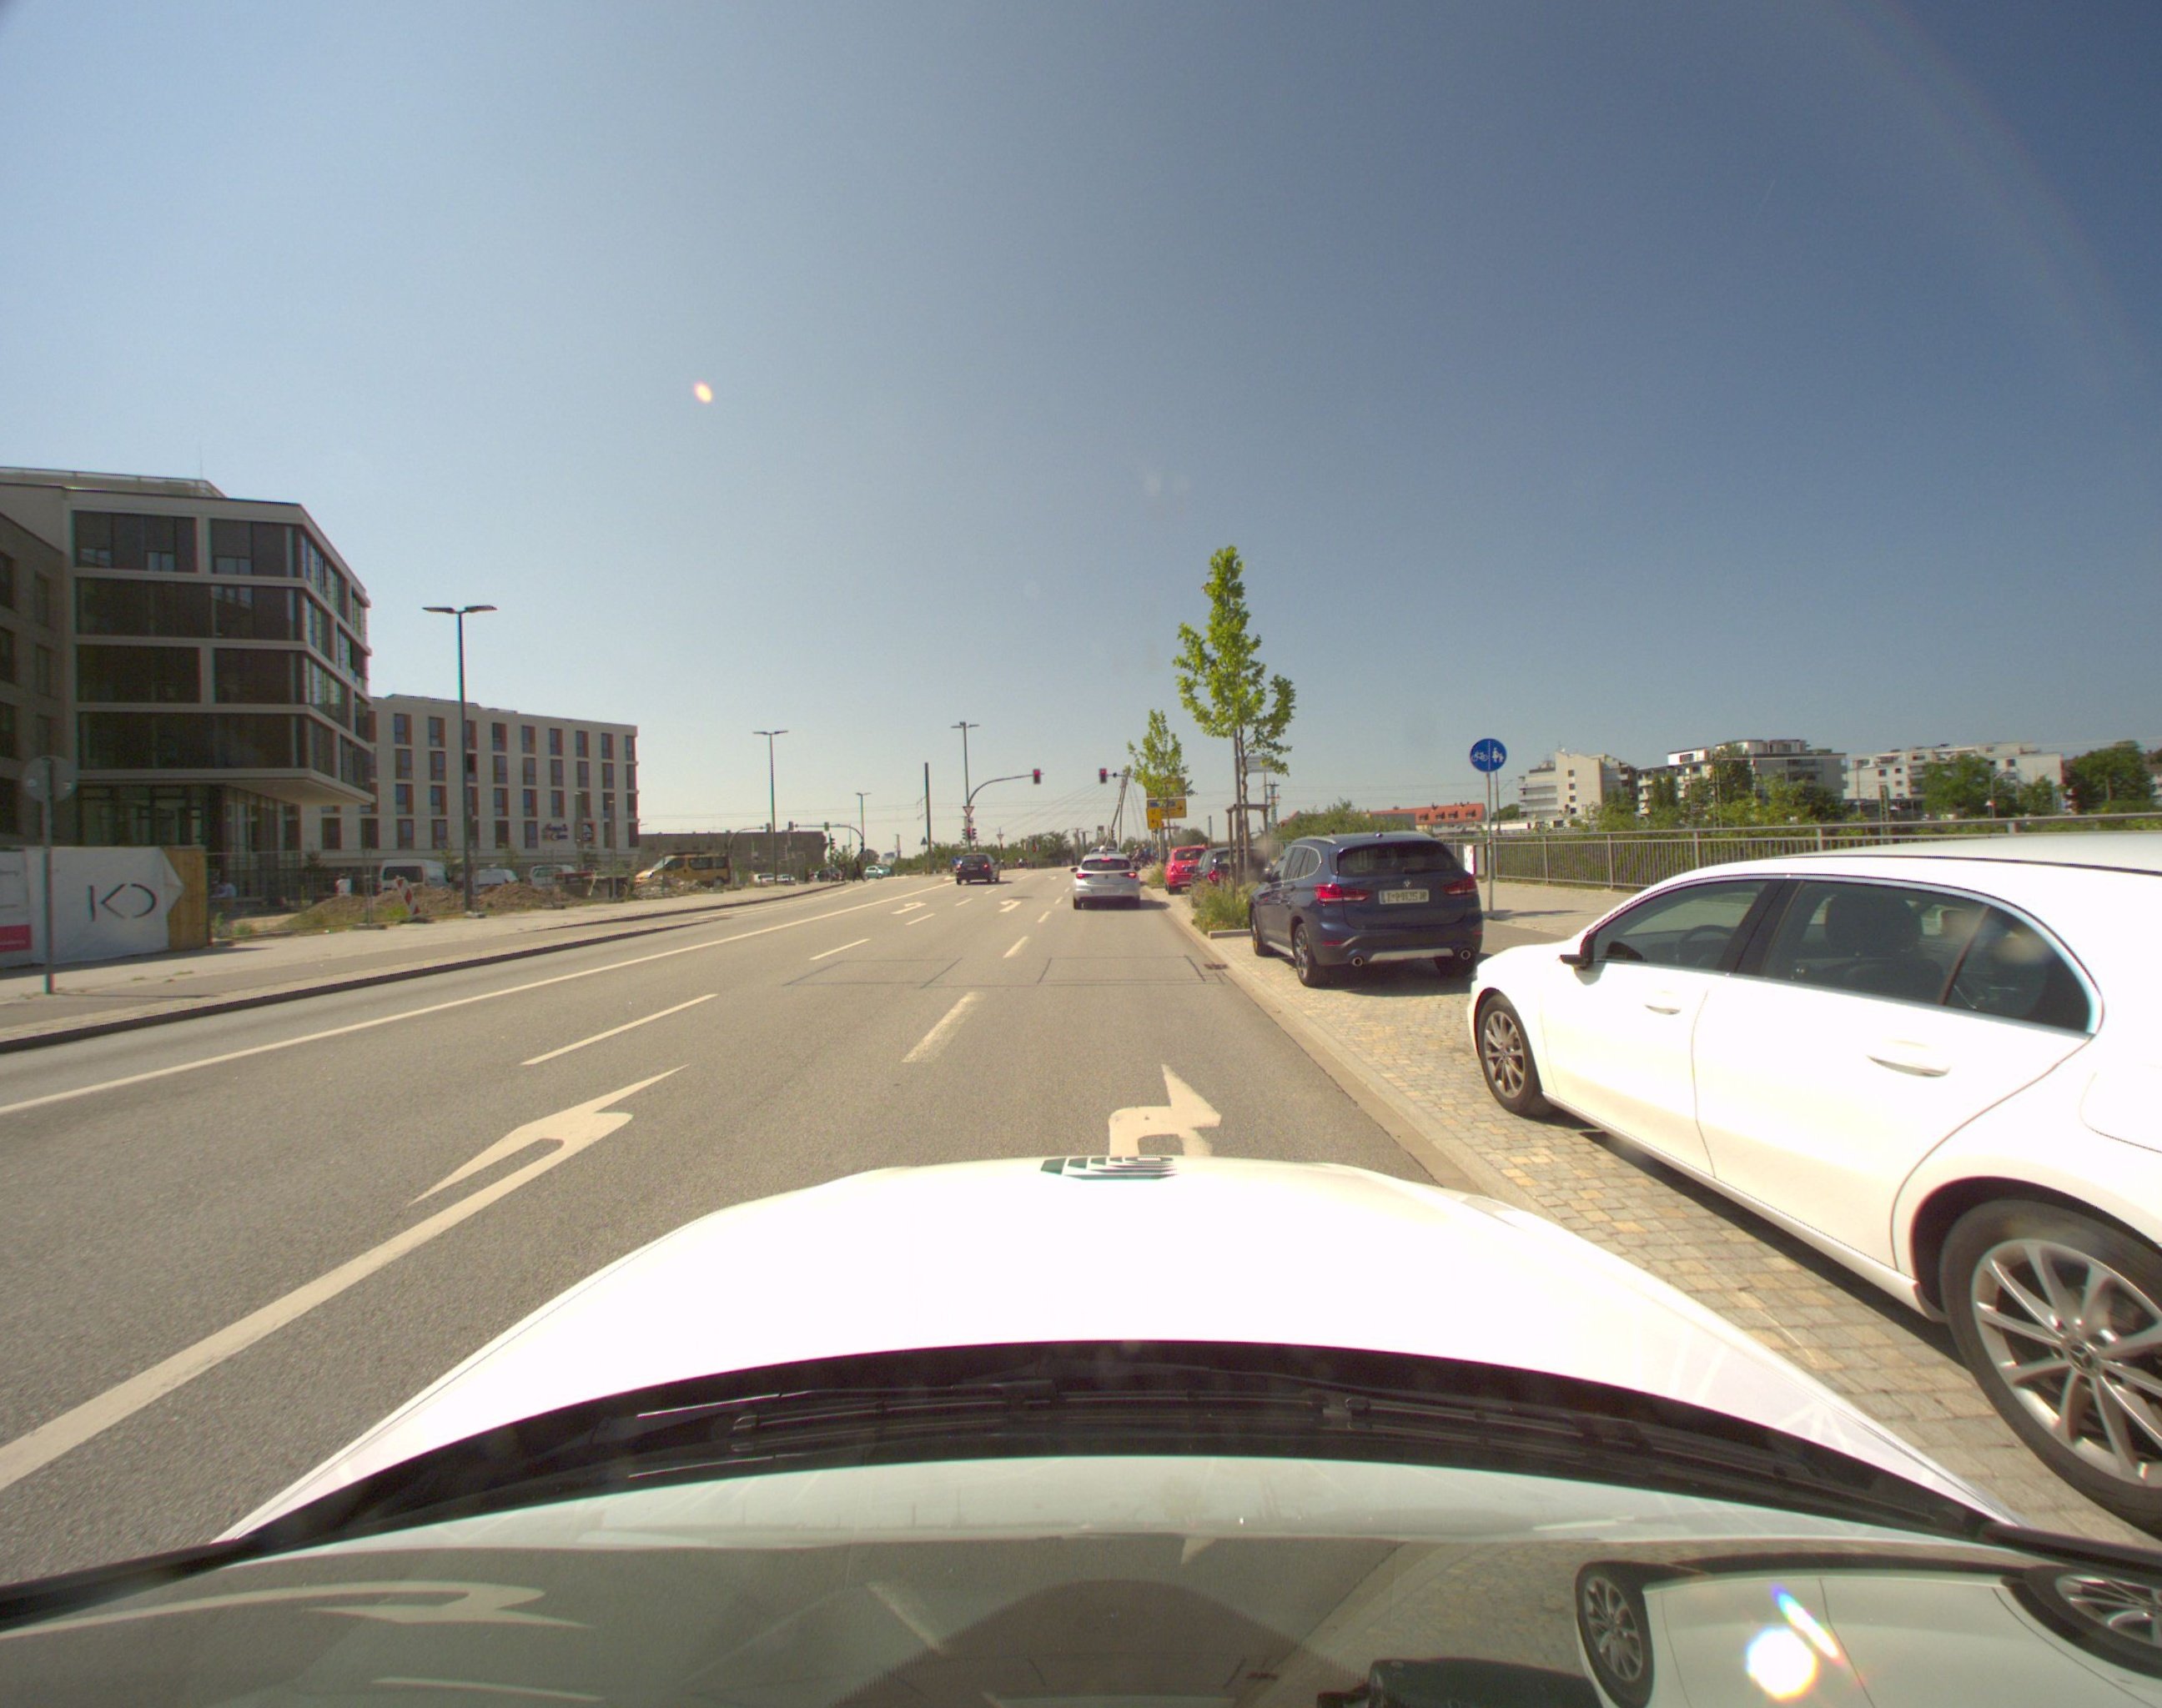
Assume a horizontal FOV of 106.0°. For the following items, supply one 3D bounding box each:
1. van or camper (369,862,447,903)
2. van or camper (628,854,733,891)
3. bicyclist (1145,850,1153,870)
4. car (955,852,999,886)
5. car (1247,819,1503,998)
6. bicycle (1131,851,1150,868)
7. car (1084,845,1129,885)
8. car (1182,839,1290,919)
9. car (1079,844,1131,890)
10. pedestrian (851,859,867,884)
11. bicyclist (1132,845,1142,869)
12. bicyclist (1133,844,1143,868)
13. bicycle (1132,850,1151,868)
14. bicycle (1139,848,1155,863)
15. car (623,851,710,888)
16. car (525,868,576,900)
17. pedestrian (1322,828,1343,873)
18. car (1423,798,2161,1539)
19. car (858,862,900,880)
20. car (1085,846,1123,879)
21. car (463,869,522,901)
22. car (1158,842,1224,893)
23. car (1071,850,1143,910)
[{"bbox_3d":[-35.585,1.502,43.202,2.252,2.014,4.558,2,-2,-28],"label":"van or camper"},{"bbox_3d":[-21.762,0.995,44.411,1.975,1.897,4.745,-3,-3,44],"label":"van or camper"},{"bbox_3d":[5.571,0.486,66.921,0.591,1.644,0.312,-1,-2,-4],"label":"bicyclist"},{"bbox_3d":[-4.903,0.670,38.809,1.614,1.416,3.726,-3,1,-1],"label":"car"},{"bbox_3d":[3.221,0.528,9.724,1.815,1.616,3.614,-4,0,3],"label":"car"},{"bbox_3d":[4.147,0.399,56.946,1.237,1.197,0.481,-1,-2,-5],"label":"bicycle"},{"bbox_3d":[1.106,0.439,35.433,1.771,1.568,4.002,-2,0,2],"label":"car"},{"bbox_3d":[3.540,0.544,19.341,1.771,1.503,4.002,-6,-1,2],"label":"car"},{"bbox_3d":[0.929,0.446,30.981,1.771,1.568,4.002,-2,0,2],"label":"car"},{"bbox_3d":[-15.212,1.200,55.833,0.842,1.646,0.827,-2,-1,-4],"label":"pedestrian"},{"bbox_3d":[3.912,0.188,56.971,0.591,1.644,0.312,-1,-2,-4],"label":"bicyclist"},{"bbox_3d":[3.905,0.154,55.935,0.591,1.644,0.312,-1,-2,-4],"label":"bicyclist"},{"bbox_3d":[4.130,0.318,56.022,1.237,1.197,0.481,-1,-2,-5],"label":"bicycle"},{"bbox_3d":[5.457,0.142,66.939,1.237,1.197,0.481,-1,-2,-5],"label":"bicycle"},{"bbox_3d":[-24.076,0.901,47.399,1.974,2.014,4.025,-2,-1,40],"label":"car"},{"bbox_3d":[-30.349,1.666,46.679,2.038,1.672,4.558,-2,0,-28],"label":"car"},{"bbox_3d":[8.917,-0.129,28.898,0.531,1.575,0.524,-1,-2,2],"label":"pedestrian"},{"bbox_3d":[3.043,0.596,3.213,1.690,1.475,4.208,-4,0,2],"label":"car"},{"bbox_3d":[-21.953,1.867,88.659,3.958,1.772,2.008,-1,-2,14],"label":"car"},{"bbox_3d":[1.202,0.409,42.031,1.771,1.568,4.002,-2,0,2],"label":"car"},{"bbox_3d":[-32.830,1.696,45.545,2.038,1.672,4.558,-2,0,-28],"label":"car"},{"bbox_3d":[3.651,0.443,27.622,1.771,1.503,4.002,-3,0,2],"label":"car"},{"bbox_3d":[0.739,0.643,22.718,1.771,1.442,4.002,-2,0,2],"label":"car"}]
